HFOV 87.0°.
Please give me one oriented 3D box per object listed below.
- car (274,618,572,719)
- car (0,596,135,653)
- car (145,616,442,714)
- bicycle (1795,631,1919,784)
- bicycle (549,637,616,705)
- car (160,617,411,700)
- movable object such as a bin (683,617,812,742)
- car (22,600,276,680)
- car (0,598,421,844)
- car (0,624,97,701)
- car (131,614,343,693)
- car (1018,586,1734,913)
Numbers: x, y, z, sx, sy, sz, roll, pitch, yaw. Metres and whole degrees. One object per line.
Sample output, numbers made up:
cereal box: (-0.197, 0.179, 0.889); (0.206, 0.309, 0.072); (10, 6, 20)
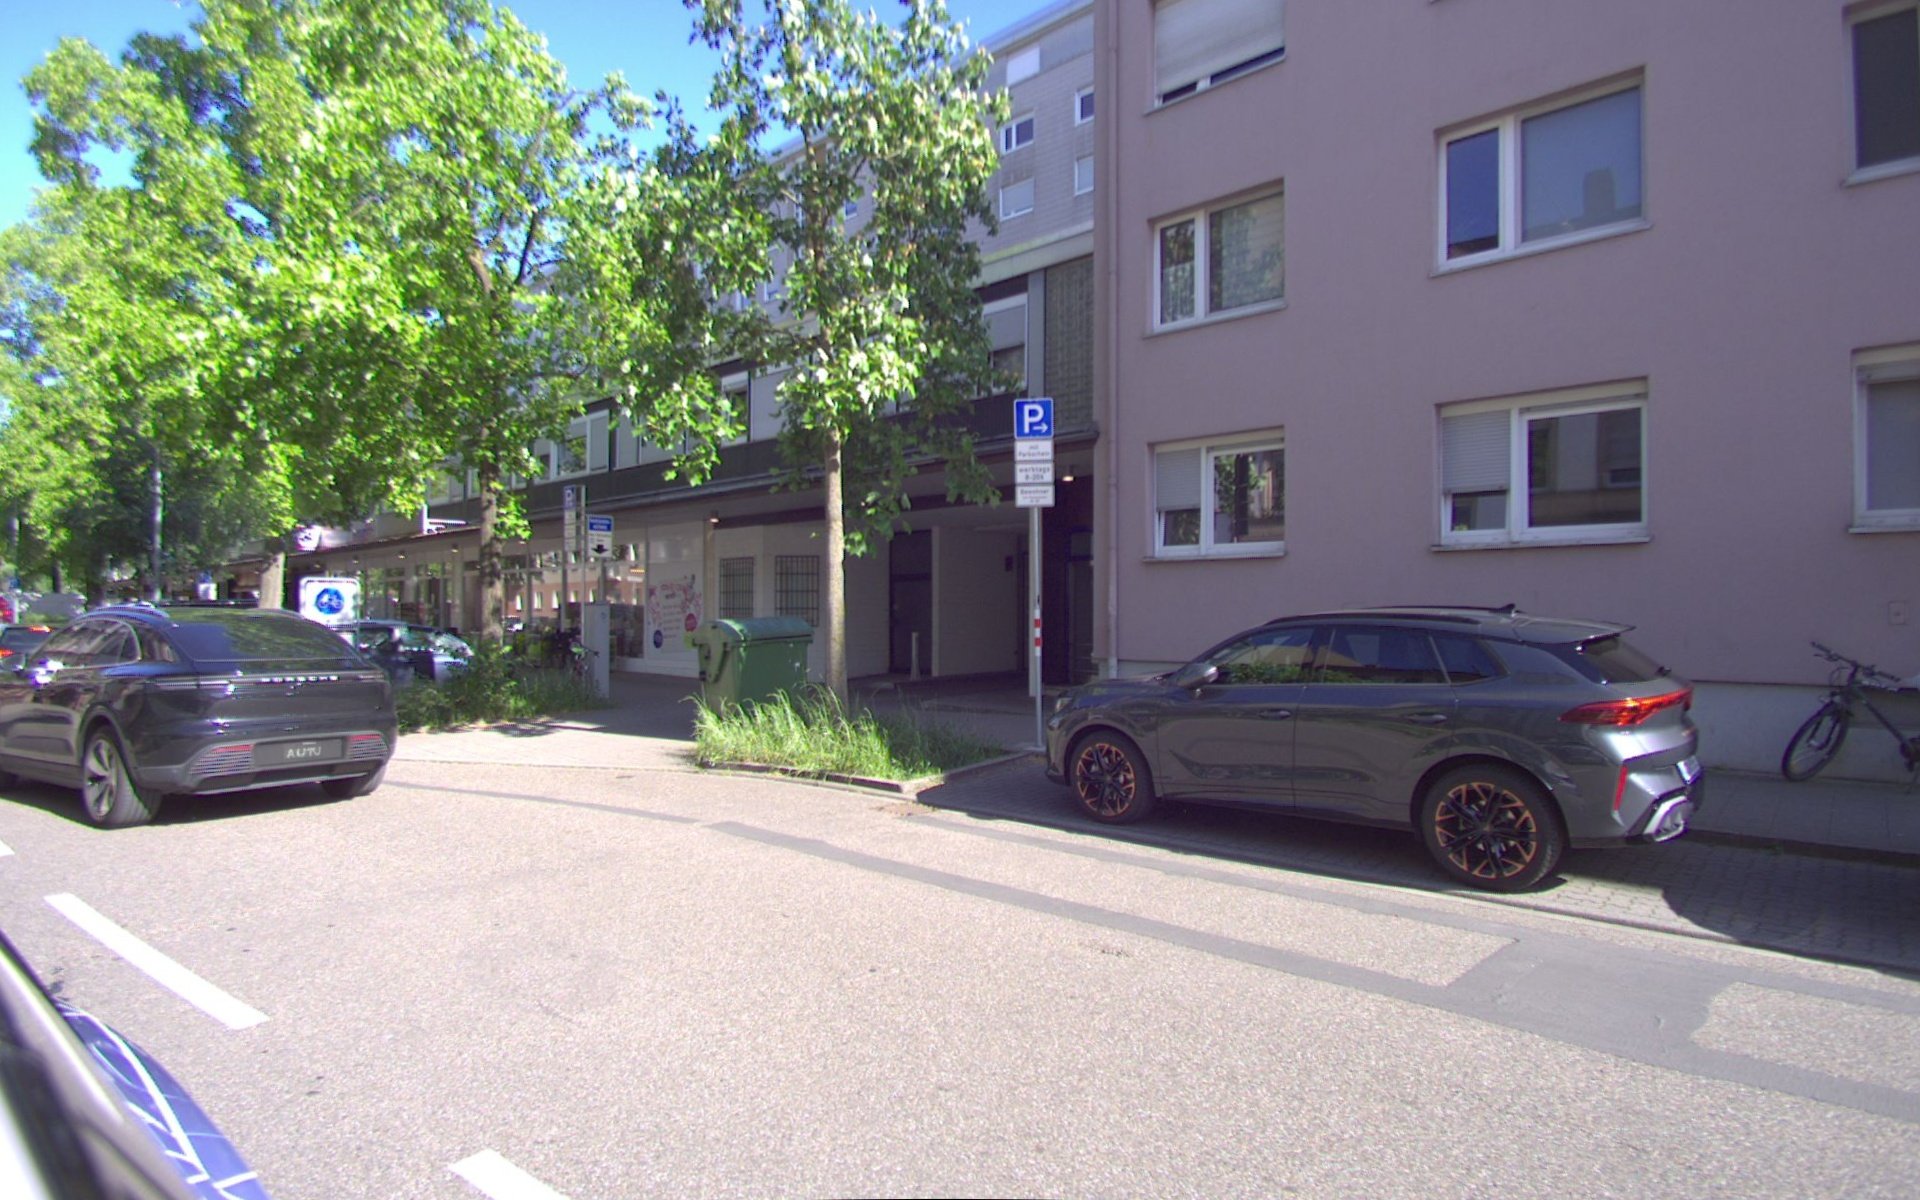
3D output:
car: (-9.139, 1.082, 17.494); (1.644, 1.444, 4.259); (-1, 0, 42)
car: (-42.267, 1.099, 46.490); (1.990, 2.493, 6.544); (-1, -1, 26)
car: (-12.067, 1.093, 18.529); (1.763, 1.471, 4.257); (-1, 0, 44)
bicycle: (7.202, 0.784, 7.409); (1.646, 1.092, 0.411); (-1, 0, 42)
bicycle: (-6.393, 1.187, 17.125); (1.342, 1.086, 0.461); (-1, -1, 39)
car: (-13.747, 1.117, 20.809); (1.810, 1.474, 3.950); (-1, -1, 37)
movable object such as a bin: (-2.646, 0.945, 12.624); (1.215, 1.461, 1.078); (1, -2, -40)
car: (-22.273, 1.007, 27.998); (2.015, 1.989, 5.236); (-1, -1, 42)
car: (-6.763, 0.847, 8.712); (4.414, 1.626, 1.852); (-1, -2, 33)
car: (-19.205, 1.223, 20.793); (3.960, 1.449, 1.743); (-1, -3, 42)
car: (-16.216, 1.134, 22.823); (1.681, 1.564, 3.565); (-1, 0, 37)
car: (2.691, 0.771, 7.247); (4.365, 1.618, 1.856); (-1, 0, 43)
